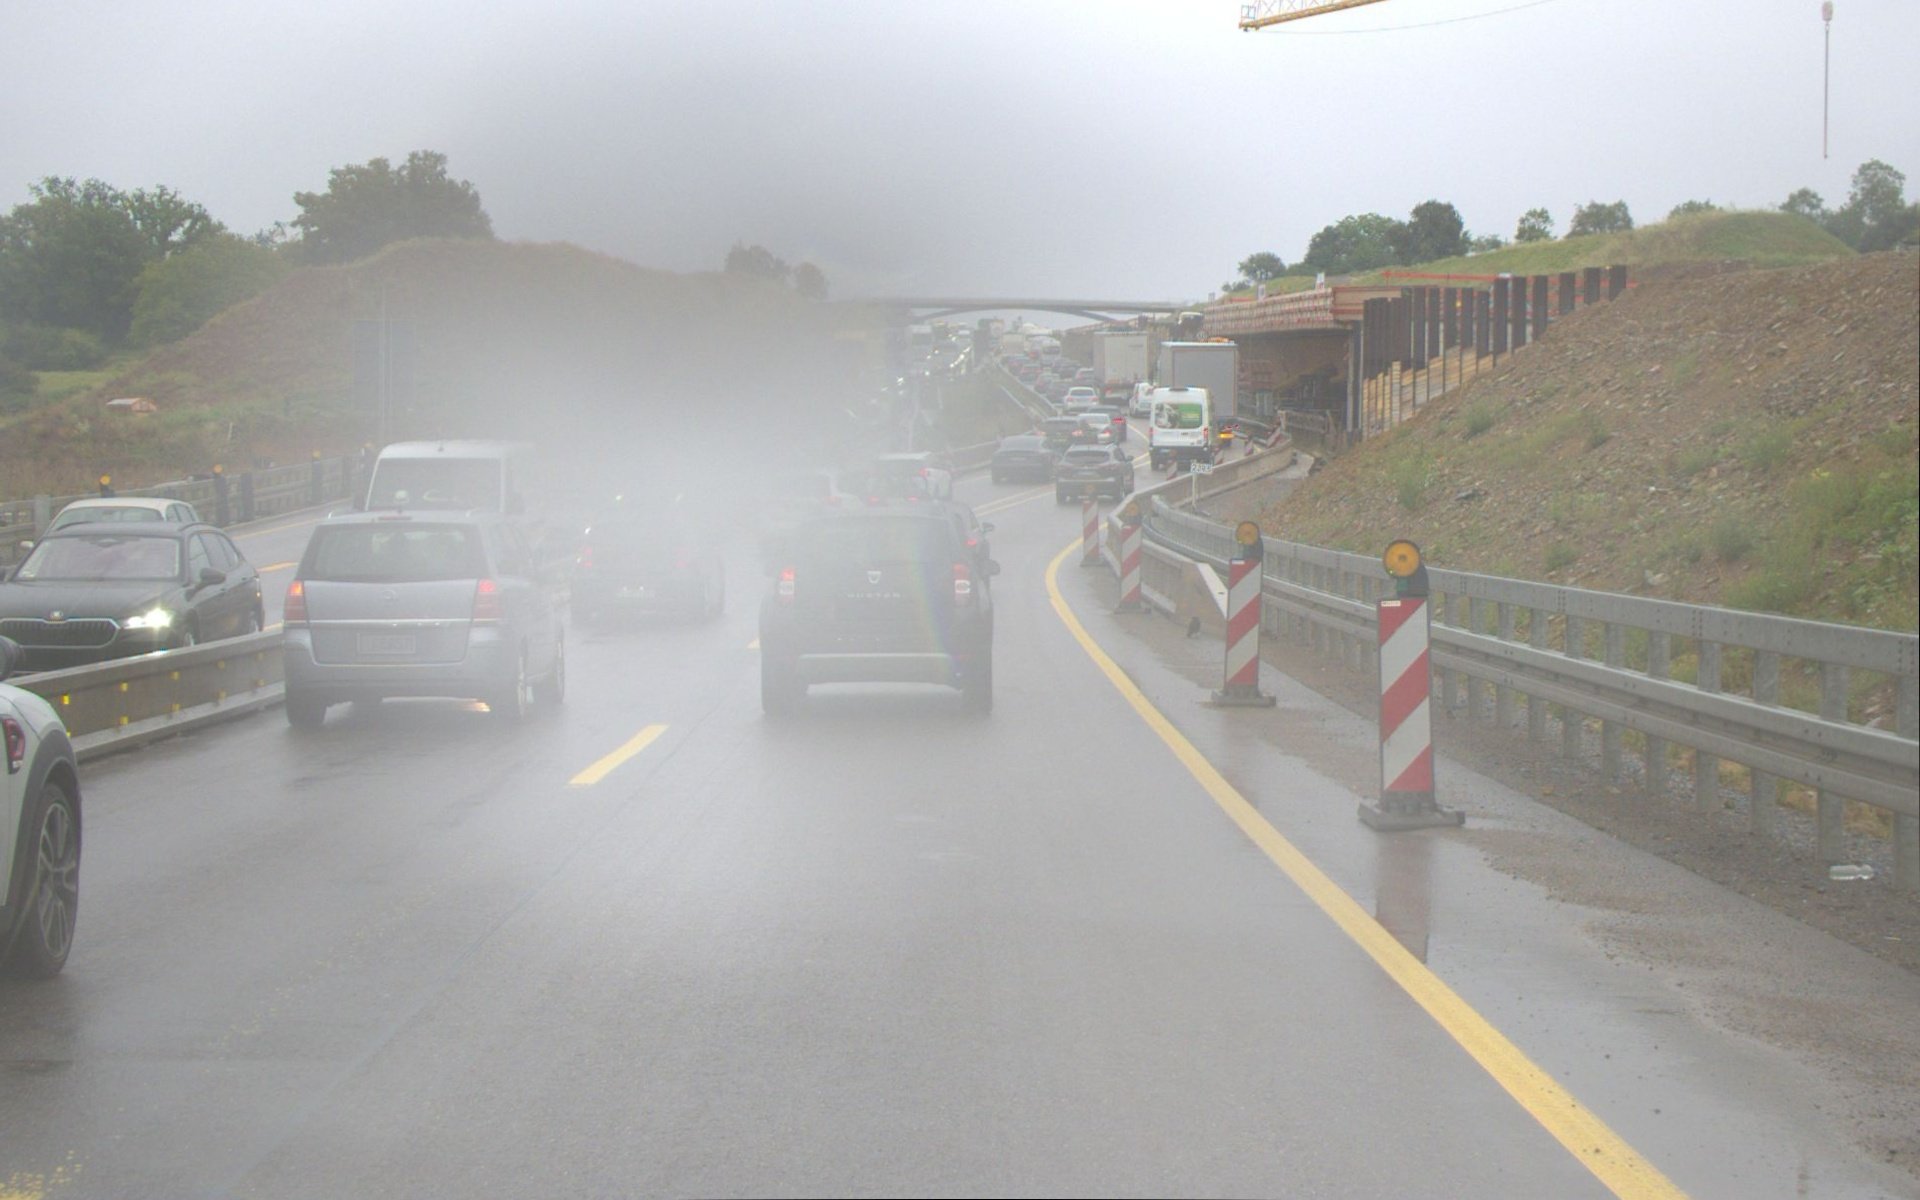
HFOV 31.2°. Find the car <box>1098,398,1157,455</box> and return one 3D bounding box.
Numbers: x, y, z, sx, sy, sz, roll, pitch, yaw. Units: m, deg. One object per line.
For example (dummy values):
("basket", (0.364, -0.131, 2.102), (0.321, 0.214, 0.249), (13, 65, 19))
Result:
("car", (6.917, -7.127, 141.617), (1.994, 2.155, 4.139), (0, 1, 9))

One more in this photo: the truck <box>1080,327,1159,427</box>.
("truck", (9.109, -12.704, 197.498), (3.804, 5.025, 12.922), (0, 1, -1))

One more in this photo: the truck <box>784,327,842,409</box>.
("truck", (-9.220, -14.575, 216.607), (3.083, 4.902, 8.565), (1, 2, 1))

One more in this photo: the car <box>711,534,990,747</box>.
("car", (-0.802, 0.279, 27.865), (2.081, 1.595, 4.140), (0, 1, 1))

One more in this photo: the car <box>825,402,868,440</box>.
("car", (-5.082, -8.051, 154.550), (1.737, 1.678, 5.553), (1, 3, 0))

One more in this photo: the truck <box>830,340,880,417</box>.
("truck", (-7.563, -15.987, 248.977), (3.142, 5.398, 8.524), (1, 2, 1))

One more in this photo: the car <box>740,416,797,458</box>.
("car", (-6.794, -5.789, 122.256), (1.868, 1.466, 4.671), (0, 3, -1))

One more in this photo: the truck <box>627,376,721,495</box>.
("truck", (-9.846, -5.712, 119.039), (2.641, 3.956, 9.215), (0, 3, -1))

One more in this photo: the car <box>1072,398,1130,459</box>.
("car", (5.401, -6.524, 131.284), (1.994, 2.155, 4.140), (0, 1, 5))

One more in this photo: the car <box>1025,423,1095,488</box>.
("car", (3.500, -5.012, 119.765), (1.994, 2.155, 4.139), (0, 1, 8))

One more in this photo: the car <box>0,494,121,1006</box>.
("car", (-3.891, 0.478, 10.215), (1.816, 1.595, 4.308), (0, 1, -1))

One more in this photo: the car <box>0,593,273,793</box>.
("car", (-7.336, 0.746, 30.011), (1.772, 1.499, 4.679), (0, 1, -1))

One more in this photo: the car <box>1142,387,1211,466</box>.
("car", (7.347, -5.842, 116.380), (1.994, 2.476, 4.980), (0, 1, 7))

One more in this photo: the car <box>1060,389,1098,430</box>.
("car", (6.080, -9.738, 175.885), (1.849, 1.887, 4.021), (0, 1, 1))

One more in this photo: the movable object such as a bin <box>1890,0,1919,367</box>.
("movable object such as a bin", (31.110, -12.873, 105.683), (4.721, 10.805, 10.297), (0, 1, 14))

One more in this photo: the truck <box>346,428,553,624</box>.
("truck", (-7.071, -1.008, 48.222), (2.078, 2.567, 5.962), (0, 1, -1))

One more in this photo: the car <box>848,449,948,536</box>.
("car", (-1.560, -2.742, 88.312), (1.994, 2.155, 4.139), (0, 1, 7))

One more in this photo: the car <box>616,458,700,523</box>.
("car", (-7.286, -2.654, 83.160), (1.676, 1.518, 4.345), (0, 2, 0))

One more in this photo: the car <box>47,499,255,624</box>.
("car", (-10.423, -0.535, 44.559), (1.788, 1.541, 4.000), (0, 2, 0))

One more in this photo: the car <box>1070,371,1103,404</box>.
("car", (8.581, -14.419, 233.388), (1.993, 2.007, 4.000), (0, 1, -1))

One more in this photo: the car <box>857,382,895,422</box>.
("car", (-4.261, -10.057, 174.909), (1.785, 1.803, 4.499), (0, 1, 0))

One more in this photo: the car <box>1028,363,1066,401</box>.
("car", (4.820, -12.139, 191.529), (1.993, 2.006, 4.001), (-1, 2, 0))

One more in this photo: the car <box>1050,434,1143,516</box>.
("car", (3.777, -3.417, 94.617), (1.994, 2.155, 4.139), (0, 1, 10))

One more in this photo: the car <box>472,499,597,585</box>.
("car", (-7.902, -1.098, 64.164), (1.787, 1.533, 4.312), (0, 1, 0))

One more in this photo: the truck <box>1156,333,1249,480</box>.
("truck", (9.705, -7.606, 136.704), (3.102, 5.407, 9.440), (0, 1, 8))

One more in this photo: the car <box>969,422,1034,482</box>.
("car", (1.301, -4.620, 107.782), (1.993, 1.755, 3.815), (0, 1, 1))

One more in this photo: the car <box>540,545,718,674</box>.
("car", (-4.213, 0.093, 44.338), (1.993, 1.595, 4.141), (0, 1, -1))

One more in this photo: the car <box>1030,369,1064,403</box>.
("car", (5.478, -13.401, 215.693), (1.993, 2.006, 4.001), (-1, 2, 0))

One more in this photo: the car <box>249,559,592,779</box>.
("car", (-4.126, 0.474, 26.935), (1.993, 1.595, 4.140), (0, 1, 1))

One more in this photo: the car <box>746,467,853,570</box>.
("car", (-3.175, -1.604, 68.583), (1.993, 2.007, 3.894), (0, 1, -1))

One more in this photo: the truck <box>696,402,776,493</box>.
("truck", (-6.860, -4.686, 105.744), (2.147, 2.704, 6.017), (0, 2, -1))
